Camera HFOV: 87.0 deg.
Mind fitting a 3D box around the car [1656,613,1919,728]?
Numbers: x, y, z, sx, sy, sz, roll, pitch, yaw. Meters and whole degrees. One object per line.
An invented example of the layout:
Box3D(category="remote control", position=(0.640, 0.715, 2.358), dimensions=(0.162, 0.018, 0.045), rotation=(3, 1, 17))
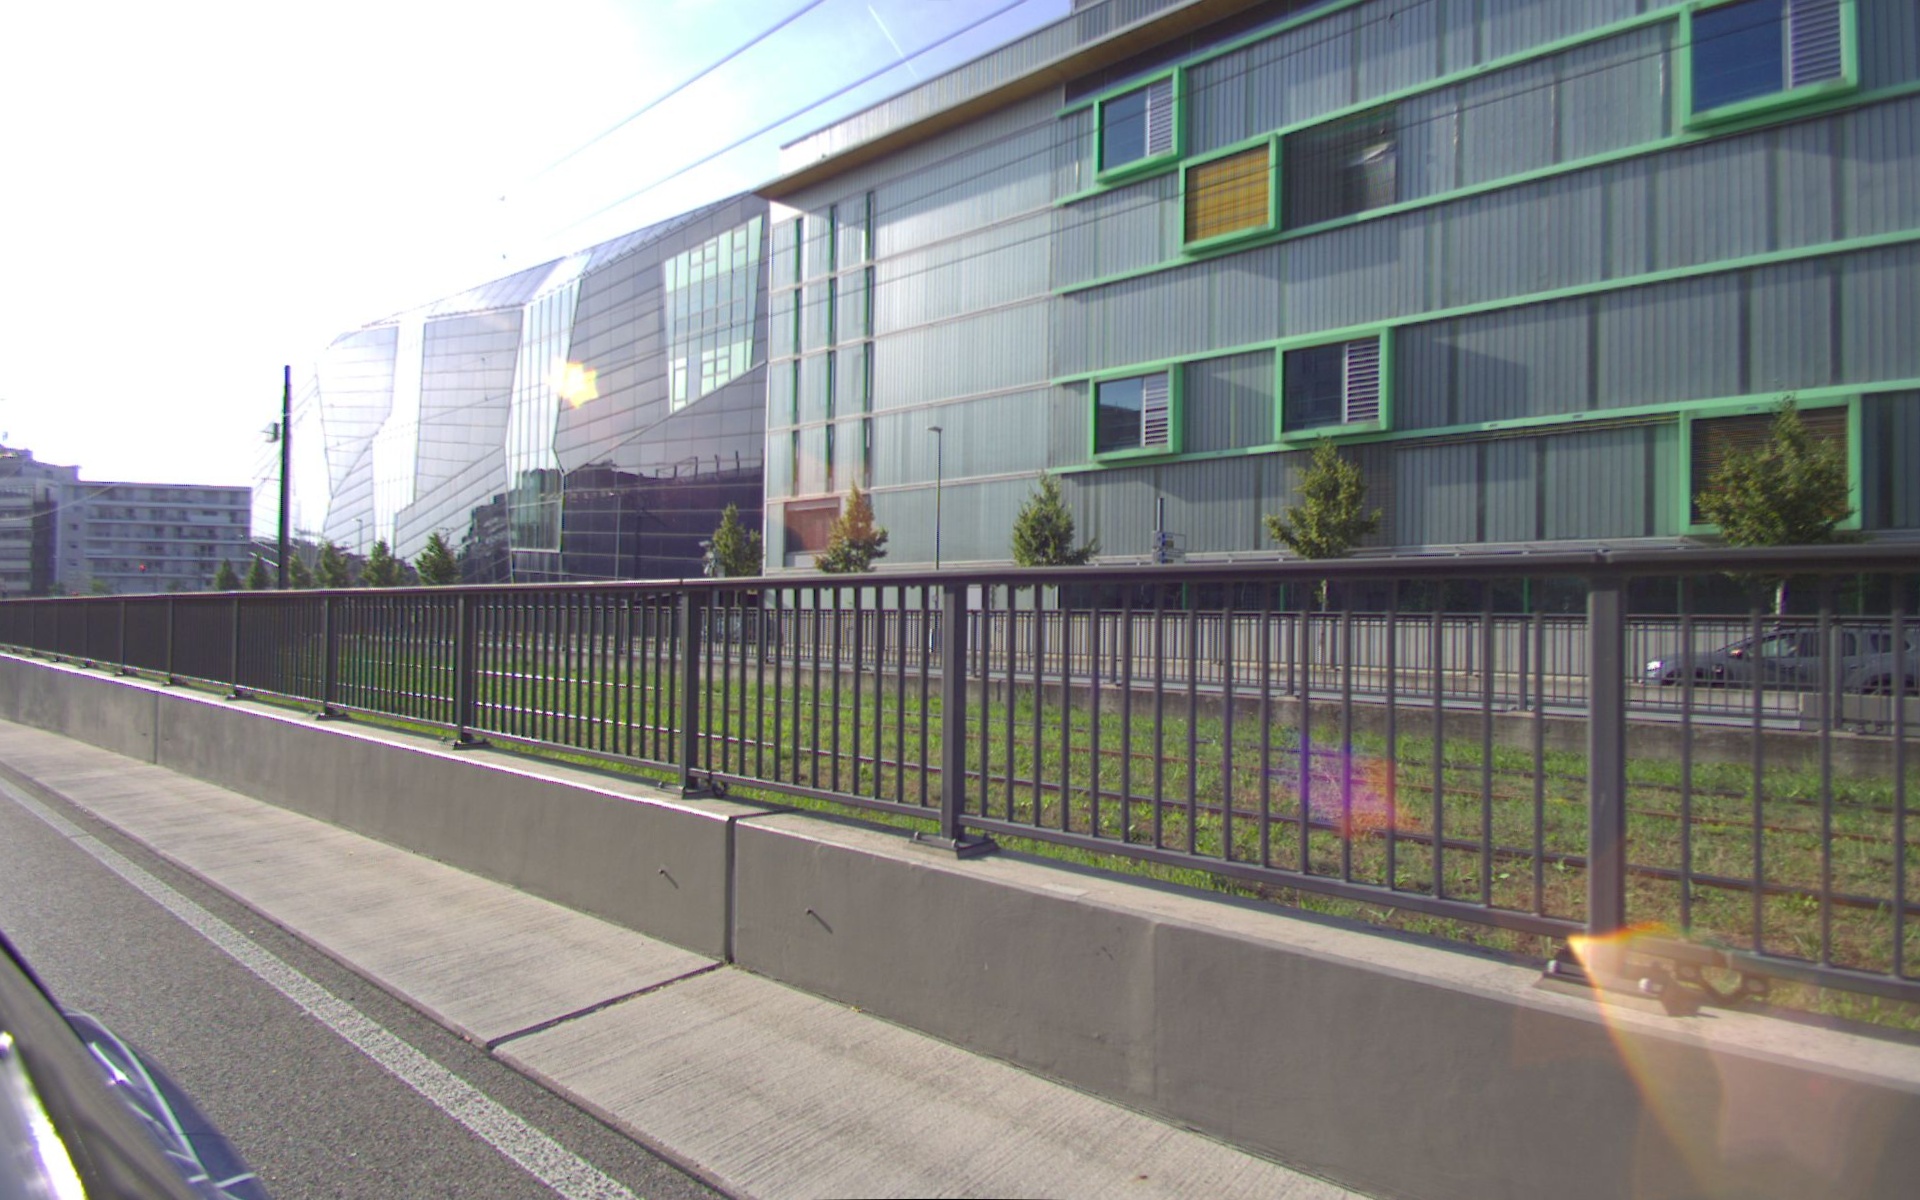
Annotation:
Box3D(category="car", position=(14.318, 1.126, 17.185), dimensions=(3.933, 1.762, 1.723), rotation=(-1, -2, 41))

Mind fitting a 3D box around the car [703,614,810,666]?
Box3D(category="car", position=(-7.328, 1.409, 36.260), dimensions=(3.933, 1.762, 1.723), rotation=(-1, -2, 41))
